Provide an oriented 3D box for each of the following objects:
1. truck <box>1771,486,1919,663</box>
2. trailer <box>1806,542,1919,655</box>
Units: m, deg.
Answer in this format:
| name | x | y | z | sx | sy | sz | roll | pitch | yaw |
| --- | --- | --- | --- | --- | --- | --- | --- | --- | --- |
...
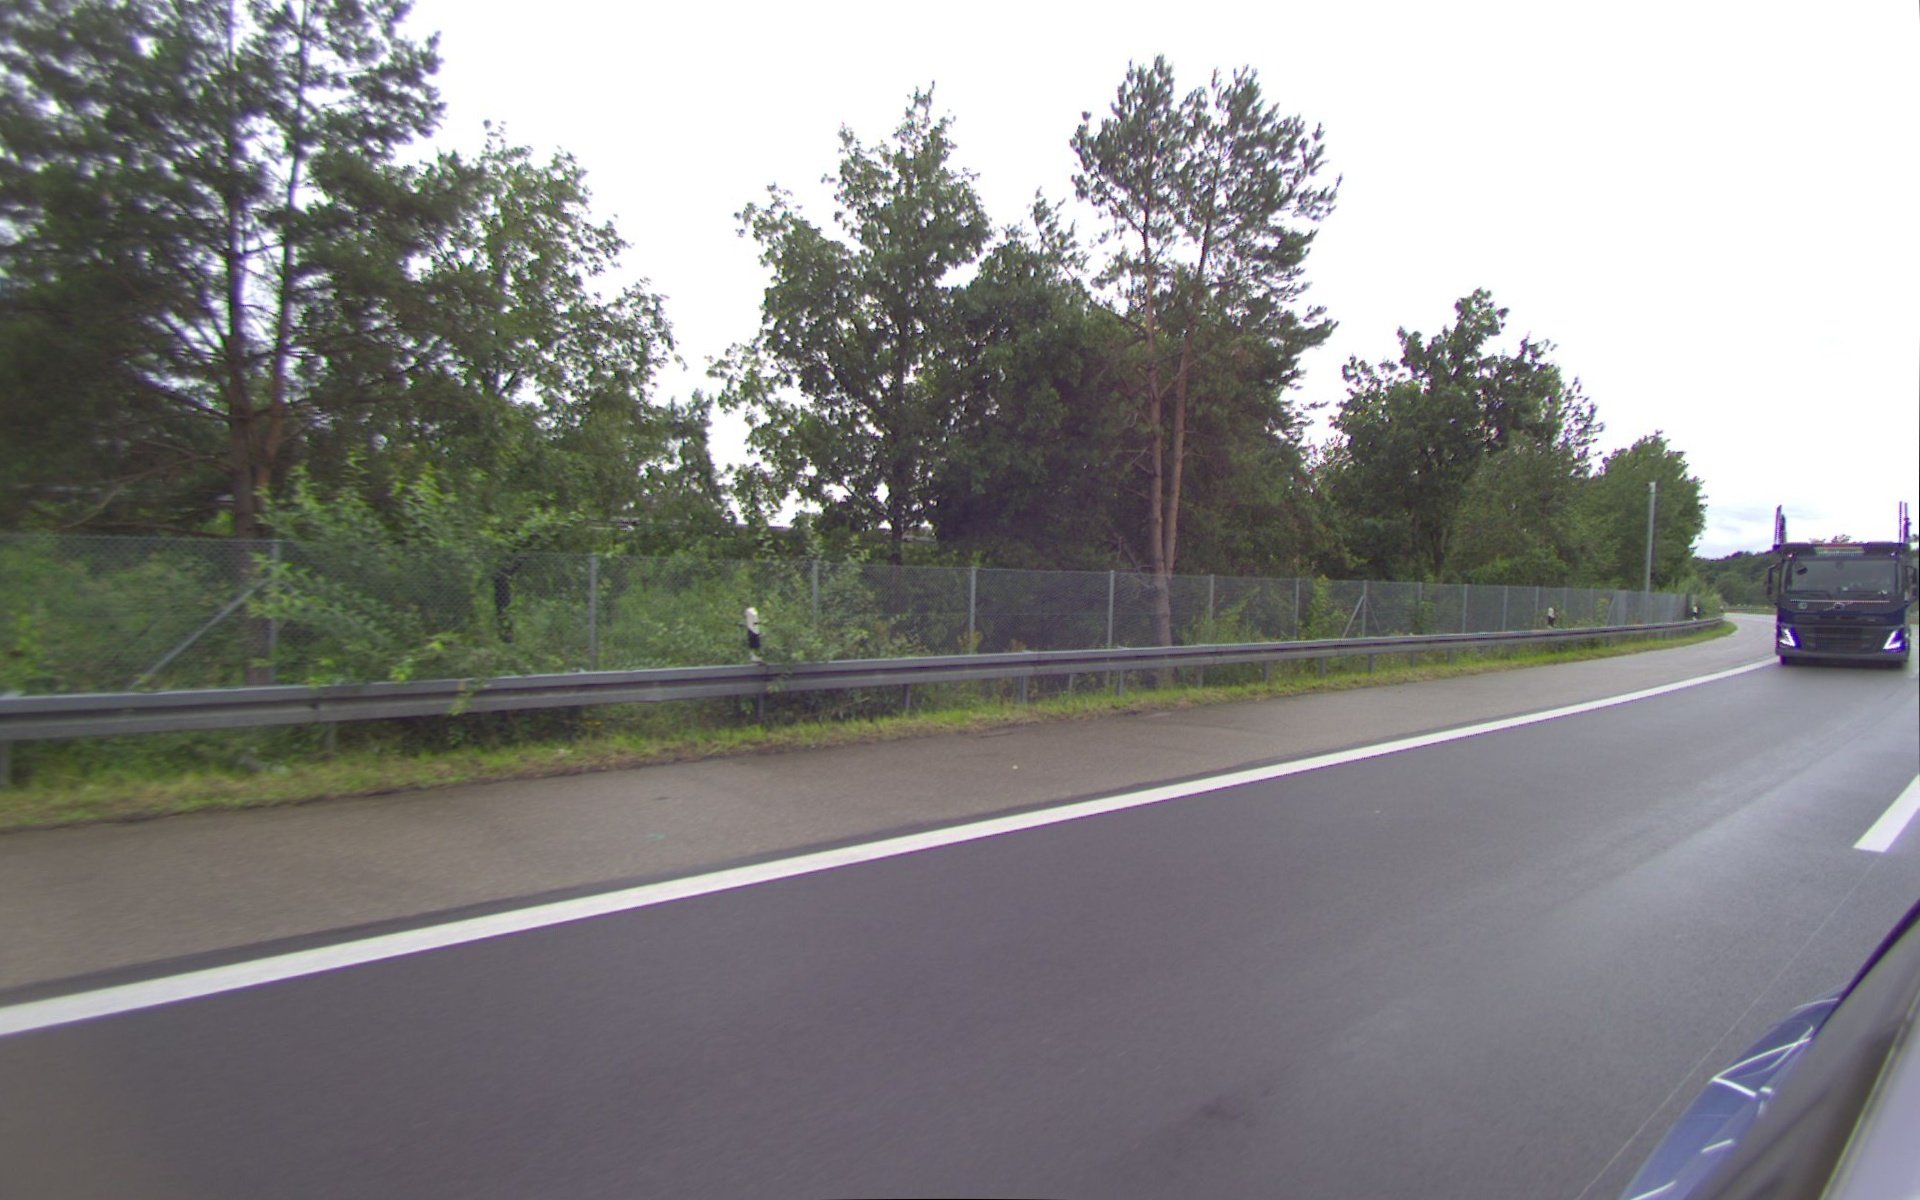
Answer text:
| name | x | y | z | sx | sy | sz | roll | pitch | yaw |
| --- | --- | --- | --- | --- | --- | --- | --- | --- | --- |
| truck | 24.073 | -0.555 | 27.136 | 2.739 | 4.018 | 8.981 | -1 | -1 | 44 |
| trailer | 30.705 | -0.046 | 34.137 | 2.777 | 3.326 | 10.244 | 2 | 1 | 43 |
